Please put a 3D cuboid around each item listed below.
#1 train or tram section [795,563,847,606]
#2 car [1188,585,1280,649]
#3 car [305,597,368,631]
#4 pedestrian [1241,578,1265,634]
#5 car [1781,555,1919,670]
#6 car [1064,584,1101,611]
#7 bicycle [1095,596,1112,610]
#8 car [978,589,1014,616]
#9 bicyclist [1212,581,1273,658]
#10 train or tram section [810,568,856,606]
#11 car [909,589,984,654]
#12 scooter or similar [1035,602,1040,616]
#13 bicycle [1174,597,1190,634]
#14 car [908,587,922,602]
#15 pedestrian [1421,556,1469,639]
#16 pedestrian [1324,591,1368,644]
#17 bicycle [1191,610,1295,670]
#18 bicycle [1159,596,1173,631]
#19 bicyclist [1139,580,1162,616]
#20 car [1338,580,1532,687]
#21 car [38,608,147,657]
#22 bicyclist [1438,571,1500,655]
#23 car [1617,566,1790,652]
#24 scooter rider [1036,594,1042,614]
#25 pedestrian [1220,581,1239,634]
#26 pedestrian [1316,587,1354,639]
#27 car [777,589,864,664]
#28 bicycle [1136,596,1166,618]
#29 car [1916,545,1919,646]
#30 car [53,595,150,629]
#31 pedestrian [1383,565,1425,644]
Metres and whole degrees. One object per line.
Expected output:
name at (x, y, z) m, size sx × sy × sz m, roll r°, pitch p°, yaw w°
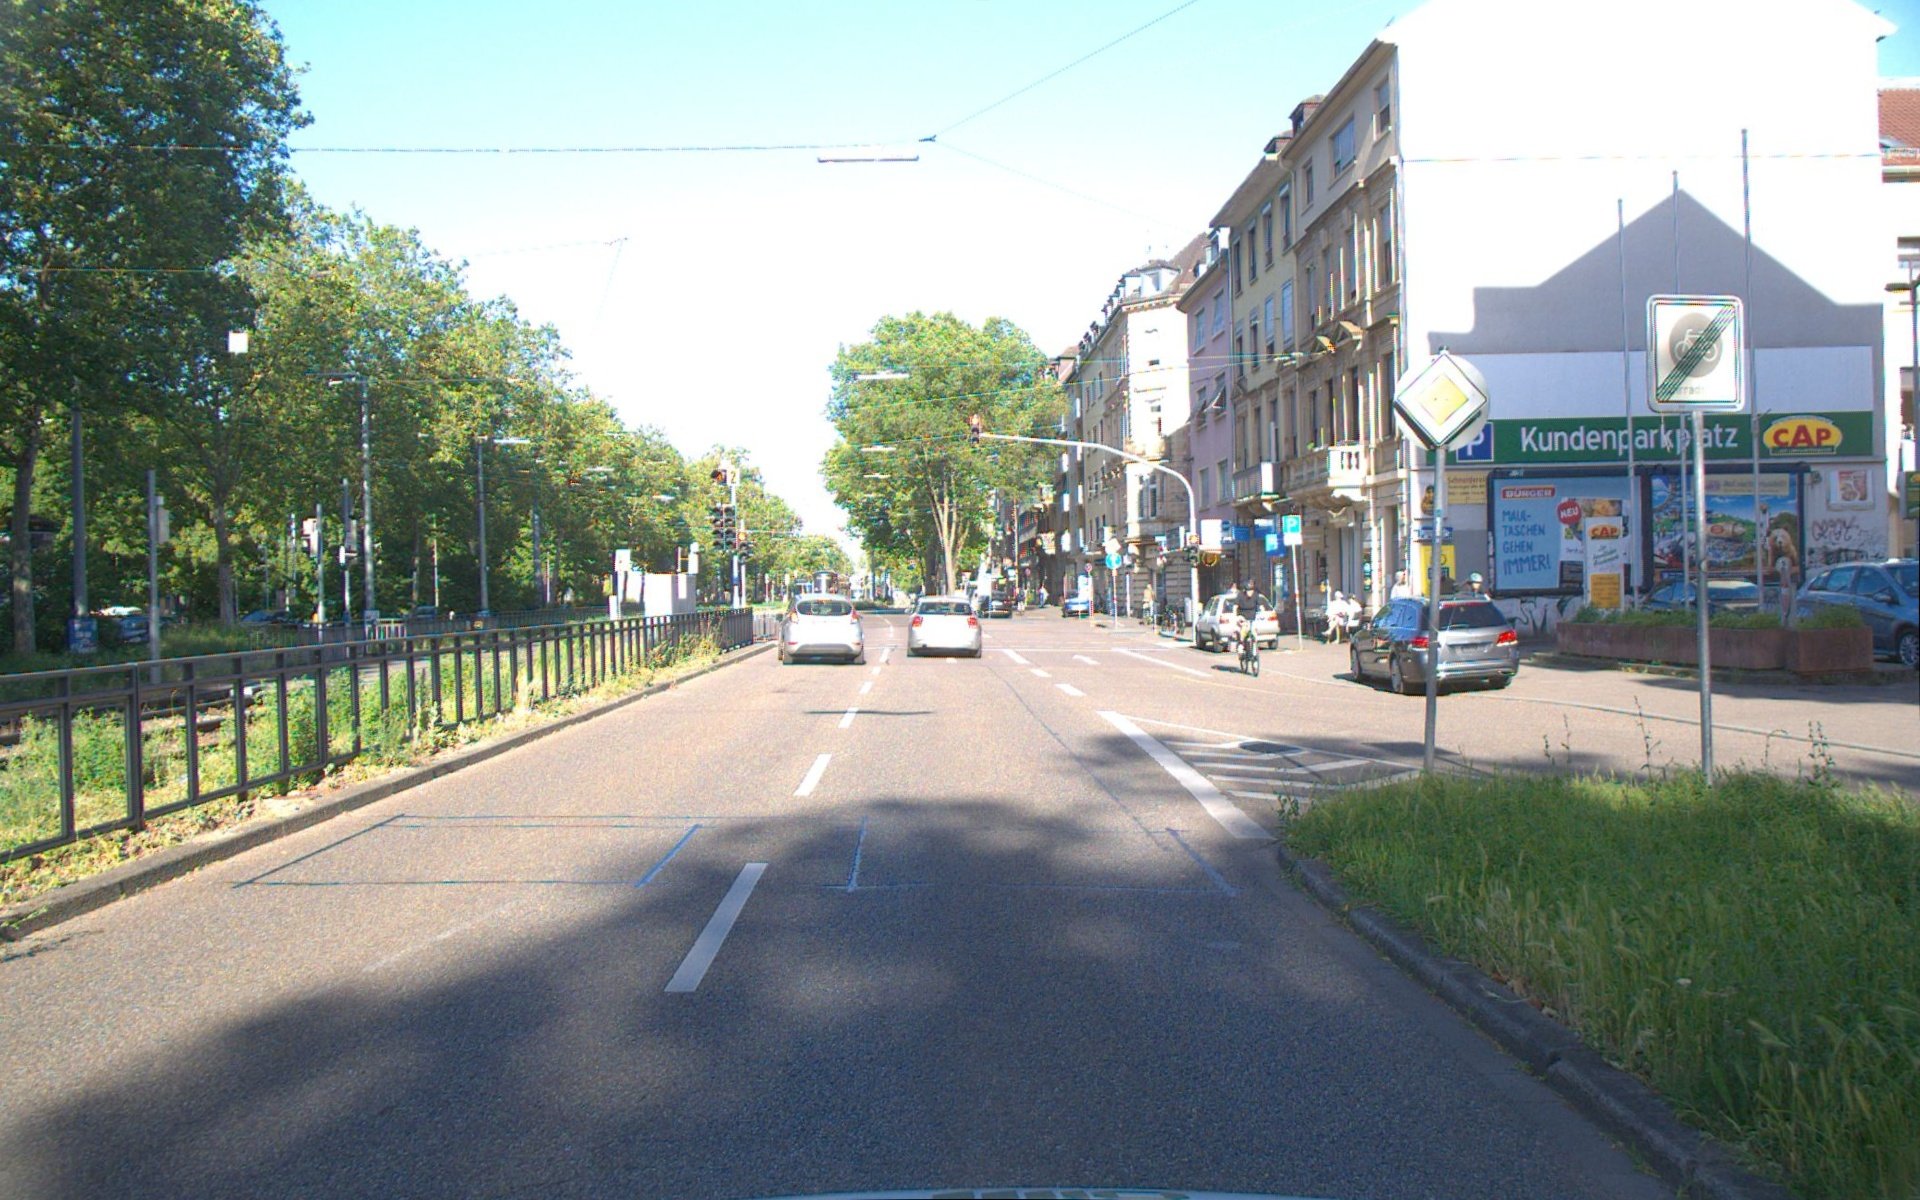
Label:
train or tram section at (-13.508, -1.480, 162.731) m, size 3.888 × 3.933 × 17.485 m, roll -1°, pitch 0°, yaw -1°
car at (7.041, 0.403, 42.829) m, size 1.531 × 1.440 × 4.003 m, roll -4°, pitch 1°, yaw -1°
car at (-30.104, 0.662, 79.951) m, size 1.636 × 1.536 × 4.143 m, roll -1°, pitch 0°, yaw -2°
pedestrian at (9.628, 0.198, 54.338) m, size 0.659 × 1.838 × 0.530 m, roll -1°, pitch 0°, yaw -1°
car at (14.709, 0.160, 25.653) m, size 1.710 × 1.673 × 3.996 m, roll -1°, pitch 0°, yaw -5°
car at (7.018, -0.167, 94.979) m, size 1.700 × 1.546 × 3.635 m, roll 0°, pitch 0°, yaw -2°
bicycle at (8.405, 0.193, 96.938) m, size 0.739 × 0.784 × 1.944 m, roll -1°, pitch 0°, yaw -2°
car at (1.950, 0.130, 90.564) m, size 1.701 × 1.458 × 3.676 m, roll 0°, pitch 0°, yaw -2°
bicyclist at (5.545, 0.374, 32.471) m, size 0.741 × 1.487 × 0.936 m, roll 1°, pitch 0°, yaw -45°
train or tram section at (-13.688, -1.394, 180.136) m, size 3.924 × 3.933 × 17.485 m, roll -1°, pitch 0°, yaw -1°
car at (-0.345, 0.480, 39.989) m, size 1.705 × 1.493 × 3.999 m, roll 1°, pitch 0°, yaw -1°
scooter or similar at (5.874, 0.658, 125.222) m, size 0.330 × 1.005 × 1.284 m, roll -1°, pitch 1°, yaw 1°
bicycle at (7.417, 0.510, 55.329) m, size 0.439 × 1.179 × 1.759 m, roll -1°, pitch 1°, yaw 5°
car at (-6.403, -0.767, 237.272) m, size 1.953 × 2.049 × 3.999 m, roll -1°, pitch 0°, yaw -1°
pedestrian at (11.181, -0.053, 38.131) m, size 0.749 × 1.873 × 0.743 m, roll -1°, pitch 0°, yaw -21°
pedestrian at (9.795, 0.444, 41.961) m, size 0.883 × 1.304 × 0.655 m, roll -2°, pitch 0°, yaw -6°
bicycle at (5.550, 0.771, 32.503) m, size 0.753 × 1.121 × 1.922 m, roll -2°, pitch 0°, yaw -44°
bicycle at (6.979, 0.456, 55.971) m, size 0.405 × 1.160 × 1.810 m, roll 0°, pitch 0°, yaw 5°
bicyclist at (8.096, -0.089, 70.347) m, size 0.538 × 1.528 × 0.956 m, roll -1°, pitch 0°, yaw 40°
car at (7.825, 0.497, 27.733) m, size 1.796 × 1.513 × 4.733 m, roll -4°, pitch 0°, yaw 0°
car at (-29.359, 1.082, 56.118) m, size 1.636 × 1.536 × 4.143 m, roll -1°, pitch 0°, yaw -2°
bicyclist at (9.434, 0.237, 30.690) m, size 0.663 × 1.471 × 1.181 m, roll -5°, pitch 0°, yaw -1°
car at (14.041, 0.154, 31.428) m, size 1.527 × 1.511 × 3.391 m, roll -1°, pitch 0°, yaw -5°
scooter rider at (5.979, 0.296, 125.083) m, size 0.456 × 1.531 × 0.811 m, roll 0°, pitch -2°, yaw 1°
pedestrian at (8.885, 0.245, 54.489) m, size 0.538 × 1.738 × 0.388 m, roll -1°, pitch 0°, yaw 2°
pedestrian at (9.663, 0.334, 42.628) m, size 0.781 × 1.304 × 0.608 m, roll -1°, pitch 0°, yaw -3°
car at (-3.032, 0.515, 35.361) m, size 1.579 × 1.493 × 3.882 m, roll -1°, pitch 0°, yaw -9°
bicycle at (8.134, 0.310, 70.380) m, size 0.642 × 0.919 × 1.331 m, roll 0°, pitch 1°, yaw 40°
car at (17.294, -0.091, 26.277) m, size 1.710 × 1.723 × 3.997 m, roll -1°, pitch 0°, yaw -4°
car at (-40.705, 0.547, 78.449) m, size 3.904 × 1.520 × 1.394 m, roll -1°, pitch 0°, yaw 2°
pedestrian at (10.195, 0.102, 37.994) m, size 0.749 × 1.786 × 0.510 m, roll -1°, pitch 0°, yaw -21°
